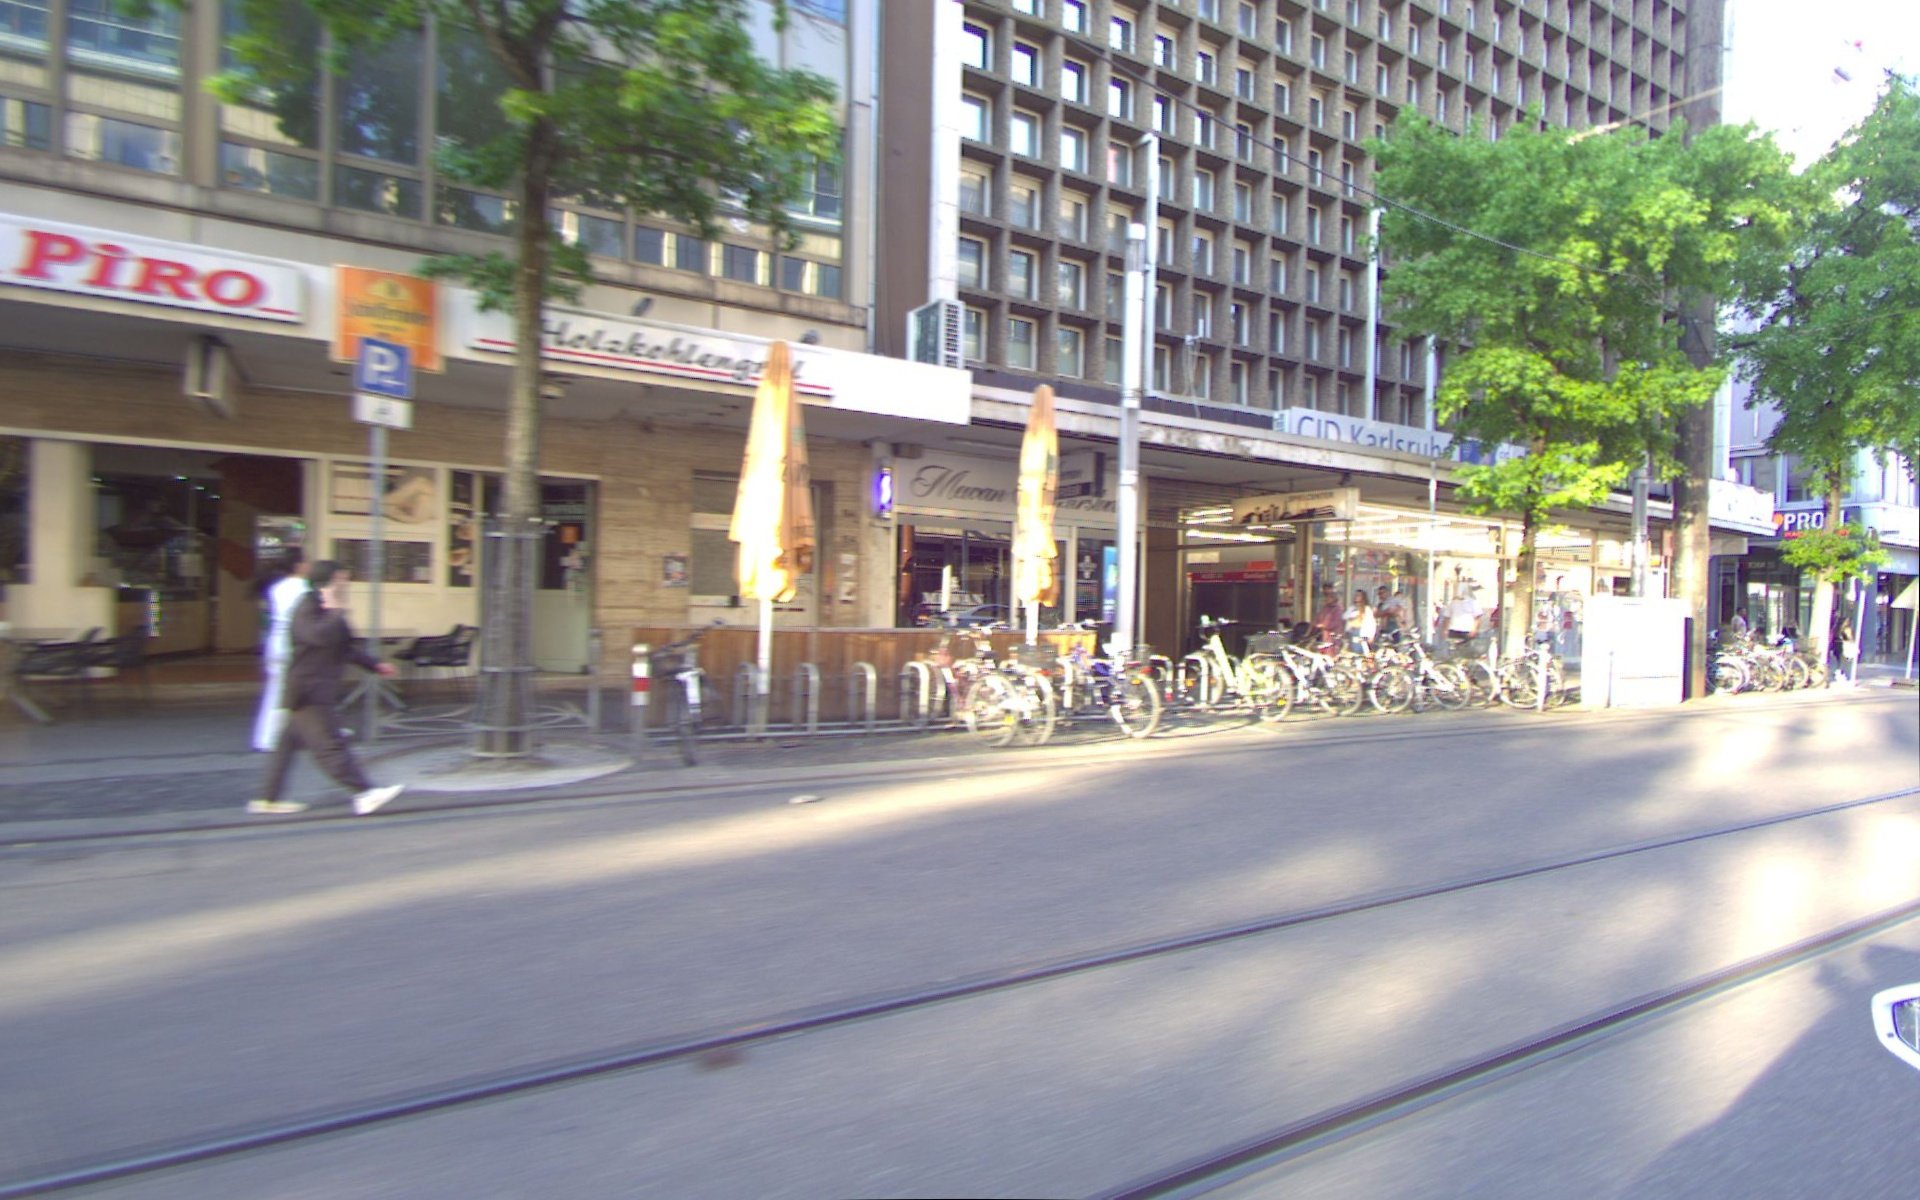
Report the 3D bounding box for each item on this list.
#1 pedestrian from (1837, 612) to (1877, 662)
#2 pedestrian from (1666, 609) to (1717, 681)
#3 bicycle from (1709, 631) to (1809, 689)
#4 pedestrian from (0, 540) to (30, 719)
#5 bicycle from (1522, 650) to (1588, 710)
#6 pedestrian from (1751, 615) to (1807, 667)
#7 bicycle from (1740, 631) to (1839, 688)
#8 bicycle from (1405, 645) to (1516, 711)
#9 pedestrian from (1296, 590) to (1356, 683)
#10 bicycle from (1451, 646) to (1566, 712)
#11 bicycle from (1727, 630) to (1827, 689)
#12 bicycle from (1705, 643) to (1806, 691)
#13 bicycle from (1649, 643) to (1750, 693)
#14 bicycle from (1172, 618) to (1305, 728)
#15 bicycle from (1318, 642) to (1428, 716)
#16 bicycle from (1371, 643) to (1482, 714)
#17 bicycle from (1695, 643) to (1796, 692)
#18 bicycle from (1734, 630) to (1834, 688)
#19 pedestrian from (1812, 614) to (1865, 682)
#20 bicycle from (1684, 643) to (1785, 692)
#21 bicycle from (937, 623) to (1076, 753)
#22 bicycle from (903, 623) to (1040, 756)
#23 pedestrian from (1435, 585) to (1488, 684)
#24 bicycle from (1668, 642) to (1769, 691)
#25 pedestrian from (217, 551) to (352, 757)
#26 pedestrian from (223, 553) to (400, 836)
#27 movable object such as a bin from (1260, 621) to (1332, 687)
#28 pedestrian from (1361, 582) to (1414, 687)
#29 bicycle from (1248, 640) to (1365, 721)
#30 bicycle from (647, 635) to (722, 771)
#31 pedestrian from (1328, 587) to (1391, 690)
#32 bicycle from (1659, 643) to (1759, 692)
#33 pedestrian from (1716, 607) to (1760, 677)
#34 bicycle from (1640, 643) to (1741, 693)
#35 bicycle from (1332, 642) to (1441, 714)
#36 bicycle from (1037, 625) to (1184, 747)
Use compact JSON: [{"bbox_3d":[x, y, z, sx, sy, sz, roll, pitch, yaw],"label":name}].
[{"bbox_3d":[31.674,1.288,35.476,0.970,1.729,0.817,1,0,-32],"label":"pedestrian"},{"bbox_3d":[18.623,1.123,25.580,0.771,1.785,0.811,1,0,-33],"label":"pedestrian"},{"bbox_3d":[15.800,1.162,19.883,0.342,1.023,1.480,1,2,-40],"label":"bicycle"},{"bbox_3d":[-8.731,0.238,8.743,0.800,1.546,0.619,1,3,-30],"label":"pedestrian"},{"bbox_3d":[8.758,1.163,14.770,1.393,0.794,0.341,1,2,-39],"label":"bicycle"},{"bbox_3d":[25.785,1.289,31.646,0.993,1.583,0.981,1,0,9],"label":"pedestrian"},{"bbox_3d":[16.840,1.186,20.422,0.342,1.042,1.480,1,2,-40],"label":"bicycle"},{"bbox_3d":[7.174,1.098,14.457,0.340,0.794,1.486,1,1,-28],"label":"bicycle"},{"bbox_3d":[6.341,0.623,17.412,0.678,1.568,0.709,1,0,-36],"label":"pedestrian"},{"bbox_3d":[7.905,1.120,14.531,0.340,0.794,1.486,1,1,-28],"label":"bicycle"},{"bbox_3d":[16.236,1.168,19.991,0.342,1.042,1.480,1,2,-40],"label":"bicycle"},{"bbox_3d":[15.369,1.285,19.439,0.340,0.794,1.486,1,1,-28],"label":"bicycle"},{"bbox_3d":[13.737,1.244,18.690,0.340,0.794,1.486,1,1,-28],"label":"bicycle"},{"bbox_3d":[3.368,0.849,12.310,0.372,1.156,1.838,1,1,-28],"label":"bicycle"},{"bbox_3d":[5.610,1.051,13.709,0.340,0.852,1.486,1,1,-28],"label":"bicycle"},{"bbox_3d":[6.535,1.079,14.139,0.340,0.852,1.486,1,1,-28],"label":"bicycle"},{"bbox_3d":[15.049,1.275,19.283,0.340,0.794,1.486,1,1,-28],"label":"bicycle"},{"bbox_3d":[16.548,1.176,20.192,0.342,1.042,1.480,1,2,-40],"label":"bicycle"},{"bbox_3d":[21.859,1.187,25.005,0.970,1.644,0.744,1,0,-33],"label":"pedestrian"},{"bbox_3d":[14.720,1.274,19.123,0.340,0.794,1.486,1,1,-28],"label":"bicycle"},{"bbox_3d":[0.418,0.822,9.983,0.373,1.092,1.777,1,1,-34],"label":"bicycle"},{"bbox_3d":[0.067,0.818,9.753,0.373,1.092,1.777,1,1,-34],"label":"bicycle"},{"bbox_3d":[9.276,0.619,18.576,0.775,1.790,0.535,1,0,35],"label":"pedestrian"},{"bbox_3d":[14.353,1.251,19.044,0.340,0.794,1.486,1,1,-28],"label":"bicycle"},{"bbox_3d":[-5.301,0.394,7.925,0.823,1.529,0.619,1,3,-30],"label":"pedestrian"},{"bbox_3d":[-3.869,0.522,6.056,0.842,1.571,0.619,1,3,-30],"label":"pedestrian"},{"bbox_3d":[5.672,0.897,16.943,0.972,1.053,0.709,1,0,-37],"label":"movable object such as a bin"},{"bbox_3d":[7.542,0.593,17.708,0.704,1.790,0.682,1,0,35],"label":"pedestrian"},{"bbox_3d":[4.444,1.015,12.969,0.341,0.888,1.482,1,2,-36],"label":"bicycle"},{"bbox_3d":[-2.342,0.811,8.448,0.372,0.943,1.591,1,1,-23],"label":"bicycle"},{"bbox_3d":[6.669,0.627,16.769,0.678,1.661,0.709,1,0,-36],"label":"pedestrian"},{"bbox_3d":[14.044,1.252,18.869,0.340,0.794,1.486,1,1,-28],"label":"bicycle"},{"bbox_3d":[20.588,1.099,26.597,0.712,1.785,0.818,1,0,25],"label":"pedestrian"},{"bbox_3d":[13.435,1.234,18.511,0.340,0.794,1.486,1,1,-28],"label":"bicycle"},{"bbox_3d":[5.899,1.060,13.973,0.340,0.852,1.486,1,1,-28],"label":"bicycle"},{"bbox_3d":[1.545,0.856,10.648,0.373,1.092,1.835,1,1,-34],"label":"bicycle"}]
